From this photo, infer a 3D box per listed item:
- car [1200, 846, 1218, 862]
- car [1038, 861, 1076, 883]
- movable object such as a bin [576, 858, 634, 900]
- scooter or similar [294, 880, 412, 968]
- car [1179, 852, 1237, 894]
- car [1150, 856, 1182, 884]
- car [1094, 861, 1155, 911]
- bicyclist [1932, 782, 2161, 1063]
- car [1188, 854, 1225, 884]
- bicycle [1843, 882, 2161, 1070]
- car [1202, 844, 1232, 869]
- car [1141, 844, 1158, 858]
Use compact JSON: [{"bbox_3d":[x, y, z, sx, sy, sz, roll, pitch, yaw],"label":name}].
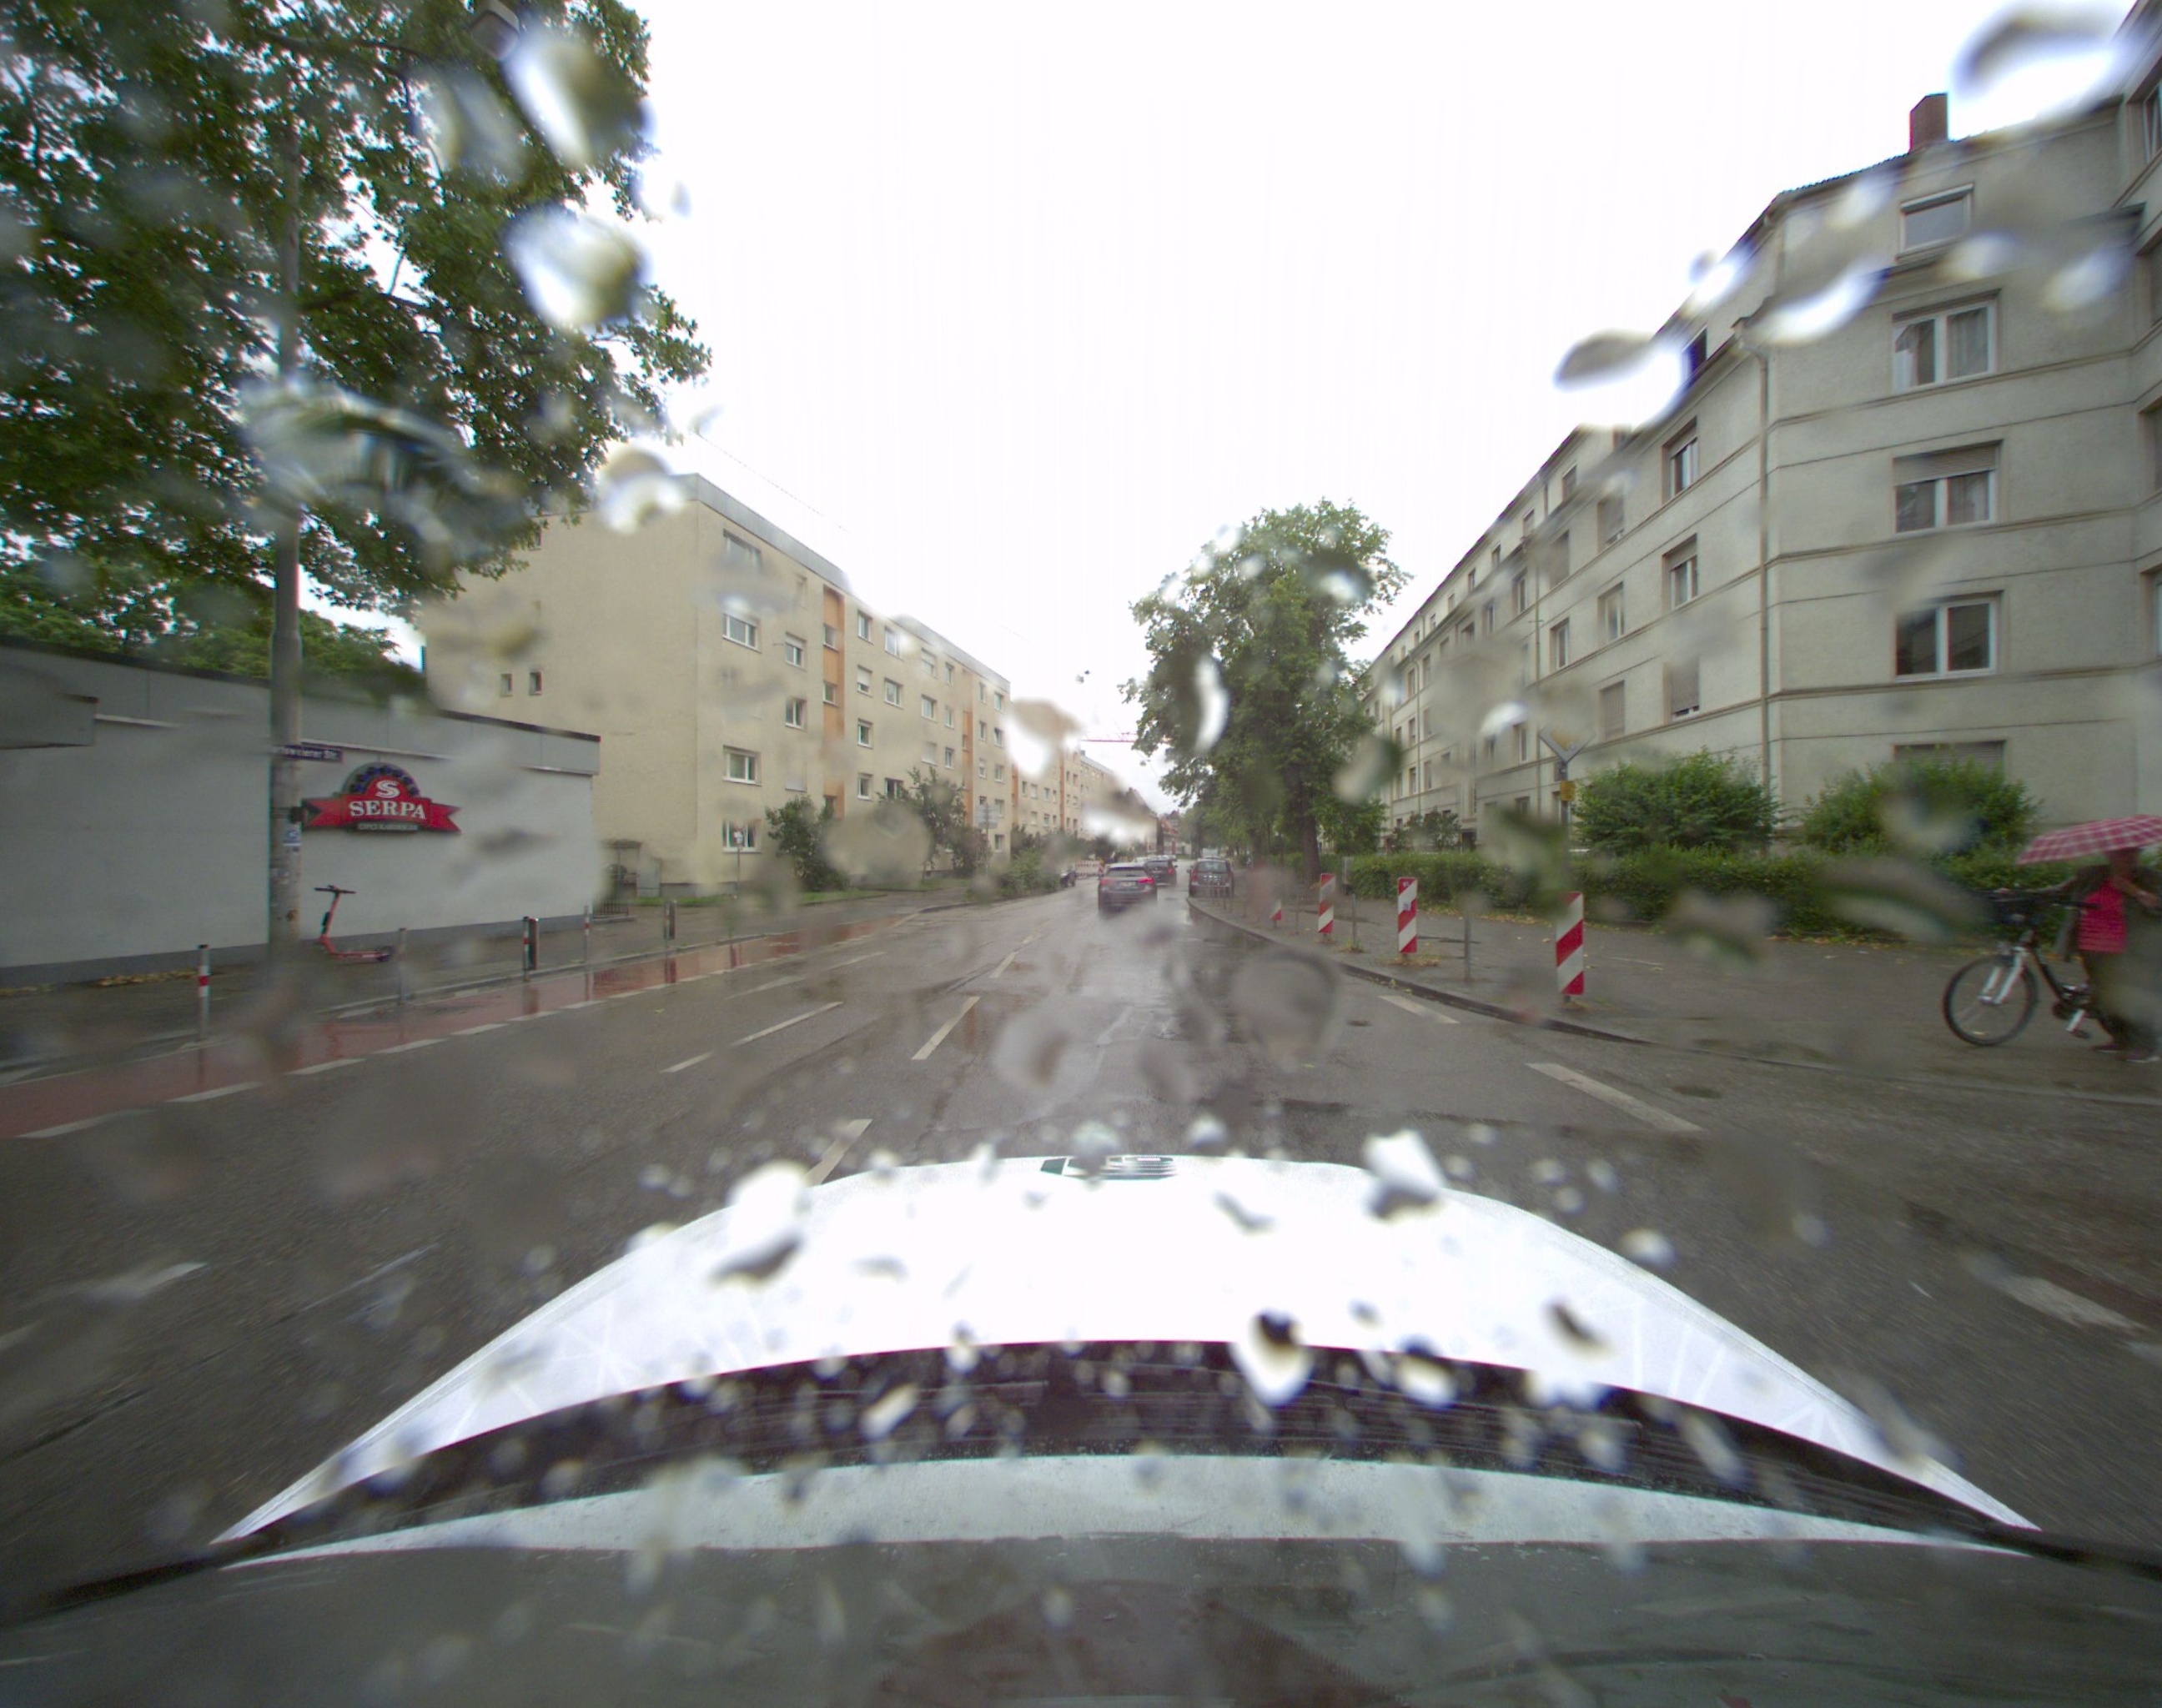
[{"bbox_3d":[15.785,0.021,100.442,2.034,1.836,4.804,-1,0,9],"label":"car"},{"bbox_3d":[-1.407,1.054,48.720,1.580,1.206,3.469,-1,0,10],"label":"car"},{"bbox_3d":[-17.153,0.889,29.365,1.321,1.475,1.205,-1,0,10],"label":"movable object such as a bin"},{"bbox_3d":[-11.389,1.057,12.795,0.435,1.266,1.380,-1,0,12],"label":"scooter or similar"},{"bbox_3d":[5.030,0.728,32.846,1.984,1.574,4.004,-1,0,4],"label":"car"},{"bbox_3d":[4.551,0.848,44.038,1.599,1.372,4.006,-1,0,5],"label":"car"},{"bbox_3d":[1.425,0.944,25.497,1.783,1.372,3.512,1,0,5],"label":"car"},{"bbox_3d":[7.399,0.445,6.078,0.939,1.868,1.137,-1,0,-13],"label":"bicyclist"},{"bbox_3d":[6.832,0.802,44.394,1.878,1.574,4.010,-1,0,9],"label":"car"},{"bbox_3d":[7.565,0.819,6.167,3.210,1.112,1.049,-1,1,-14],"label":"bicycle"},{"bbox_3d":[9.111,0.166,54.547,1.878,1.574,4.010,-1,0,9],"label":"car"},{"bbox_3d":[9.136,-0.366,108.599,1.878,1.836,4.010,-1,0,9],"label":"car"}]
